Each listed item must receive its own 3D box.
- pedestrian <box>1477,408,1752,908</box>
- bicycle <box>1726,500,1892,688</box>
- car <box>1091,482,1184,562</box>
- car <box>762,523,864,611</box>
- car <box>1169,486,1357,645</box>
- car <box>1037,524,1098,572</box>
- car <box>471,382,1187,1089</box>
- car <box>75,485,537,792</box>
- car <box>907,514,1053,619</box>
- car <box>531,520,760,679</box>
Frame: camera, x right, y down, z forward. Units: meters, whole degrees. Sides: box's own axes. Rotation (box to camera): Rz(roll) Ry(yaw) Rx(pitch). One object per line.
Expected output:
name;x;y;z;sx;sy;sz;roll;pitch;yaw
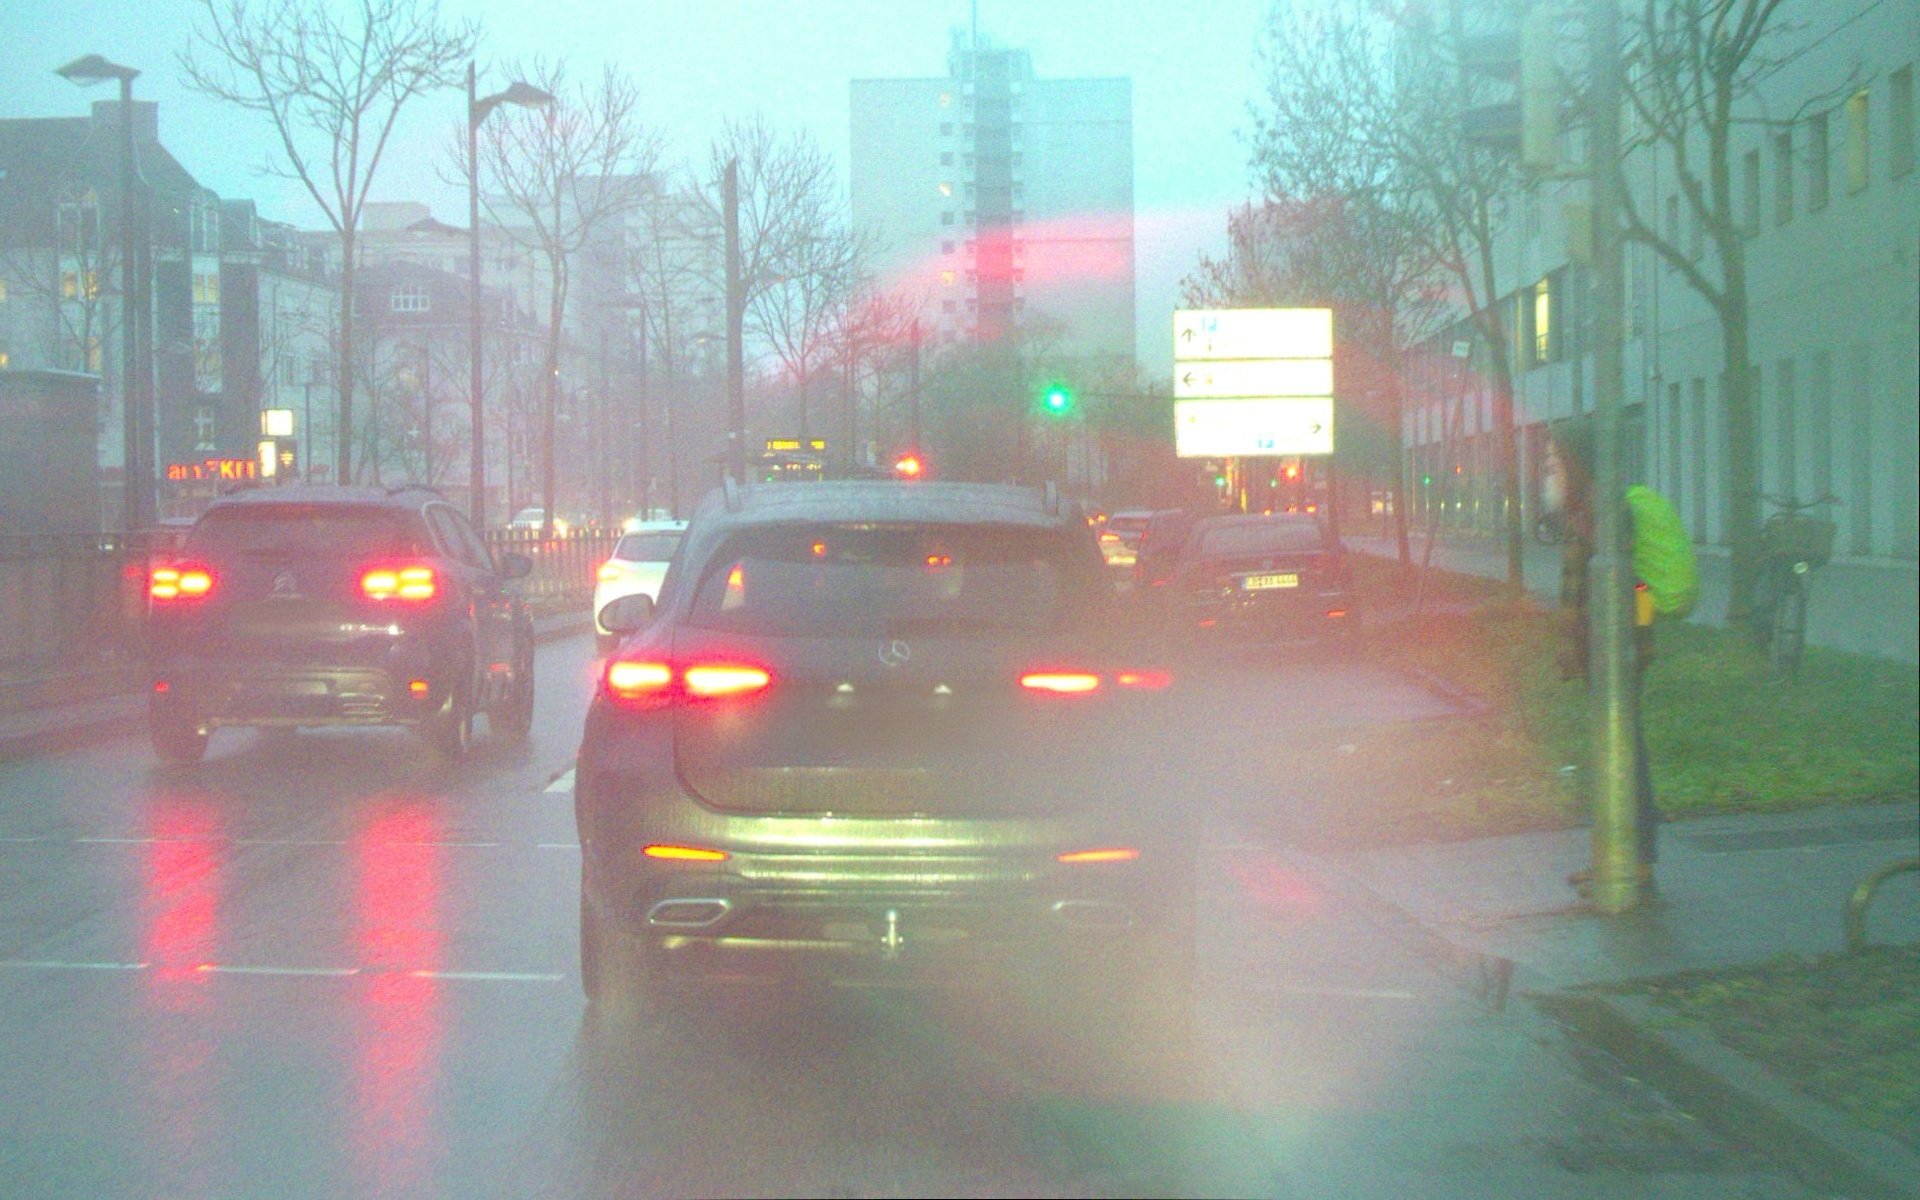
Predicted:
pedestrian;2.487;0.214;13.135;0.770;1.802;0.699;-4;0;-1
bicycle;5.348;-0.045;21.764;0.550;1.111;2.166;-2;0;2
car;3.939;-1.711;75.959;1.994;1.685;3.528;1;1;4
car;-2.491;-0.557;58.688;1.596;1.437;3.206;1;1;0
car;2.909;-0.334;33.671;1.596;1.435;4.228;1;1;2
car;3.481;-1.682;111.302;1.771;1.497;3.368;1;1;5
car;-0.382;0.362;11.743;1.993;1.969;4.068;1;1;0
car;-3.970;0.193;21.610;1.993;1.706;4.324;1;1;1
car;0.323;-0.502;48.347;1.887;1.349;4.101;1;2;3
car;-3.414;-0.023;38.021;1.993;1.636;4.022;1;1;2
